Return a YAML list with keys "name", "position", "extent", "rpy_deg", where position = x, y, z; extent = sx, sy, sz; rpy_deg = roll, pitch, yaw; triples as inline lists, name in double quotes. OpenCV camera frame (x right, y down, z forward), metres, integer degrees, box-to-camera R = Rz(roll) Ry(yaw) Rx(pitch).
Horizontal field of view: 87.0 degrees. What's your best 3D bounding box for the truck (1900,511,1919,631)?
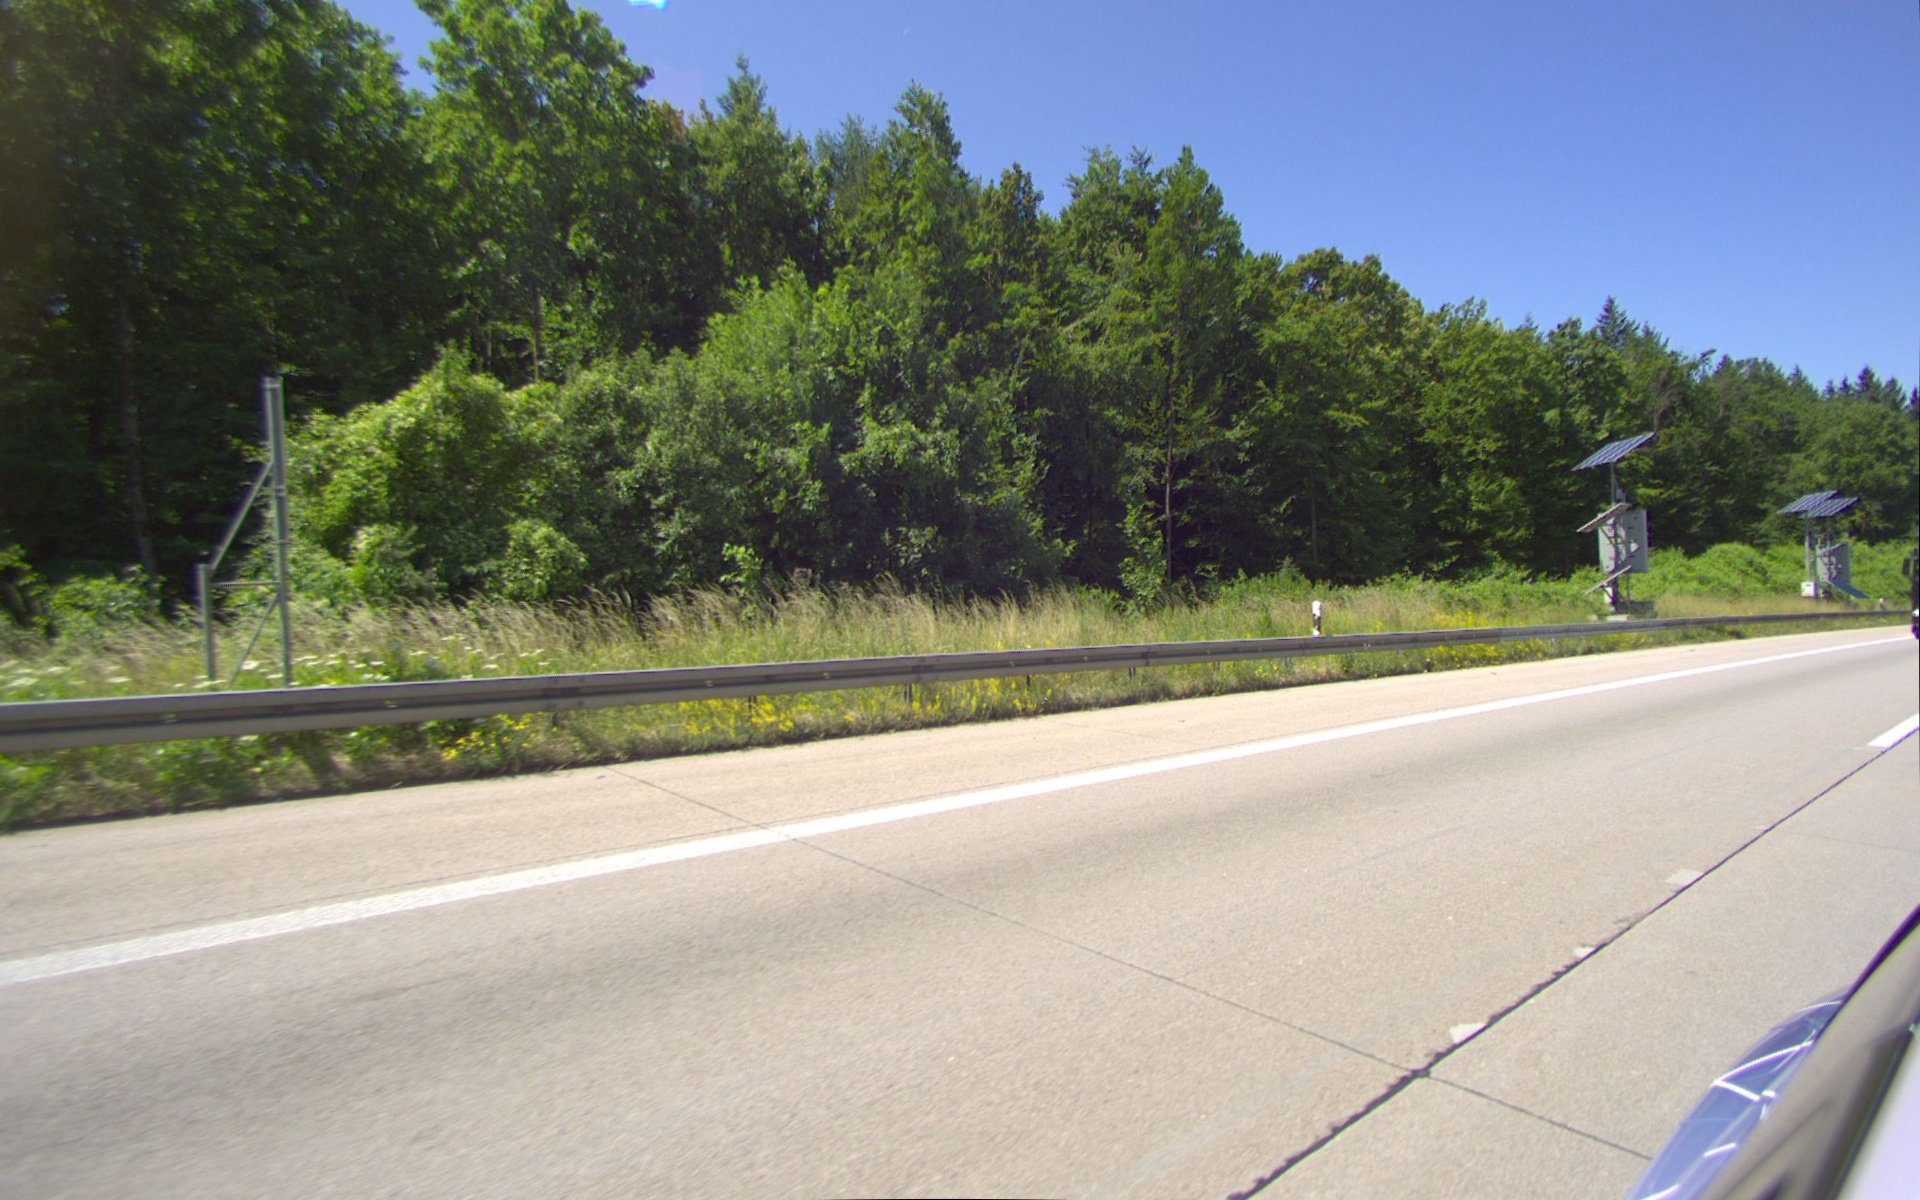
- name: "truck"
  position: [37.310, -0.999, 36.726]
  extent: [10.414, 4.067, 3.167]
  rpy_deg: [0, 1, -38]
